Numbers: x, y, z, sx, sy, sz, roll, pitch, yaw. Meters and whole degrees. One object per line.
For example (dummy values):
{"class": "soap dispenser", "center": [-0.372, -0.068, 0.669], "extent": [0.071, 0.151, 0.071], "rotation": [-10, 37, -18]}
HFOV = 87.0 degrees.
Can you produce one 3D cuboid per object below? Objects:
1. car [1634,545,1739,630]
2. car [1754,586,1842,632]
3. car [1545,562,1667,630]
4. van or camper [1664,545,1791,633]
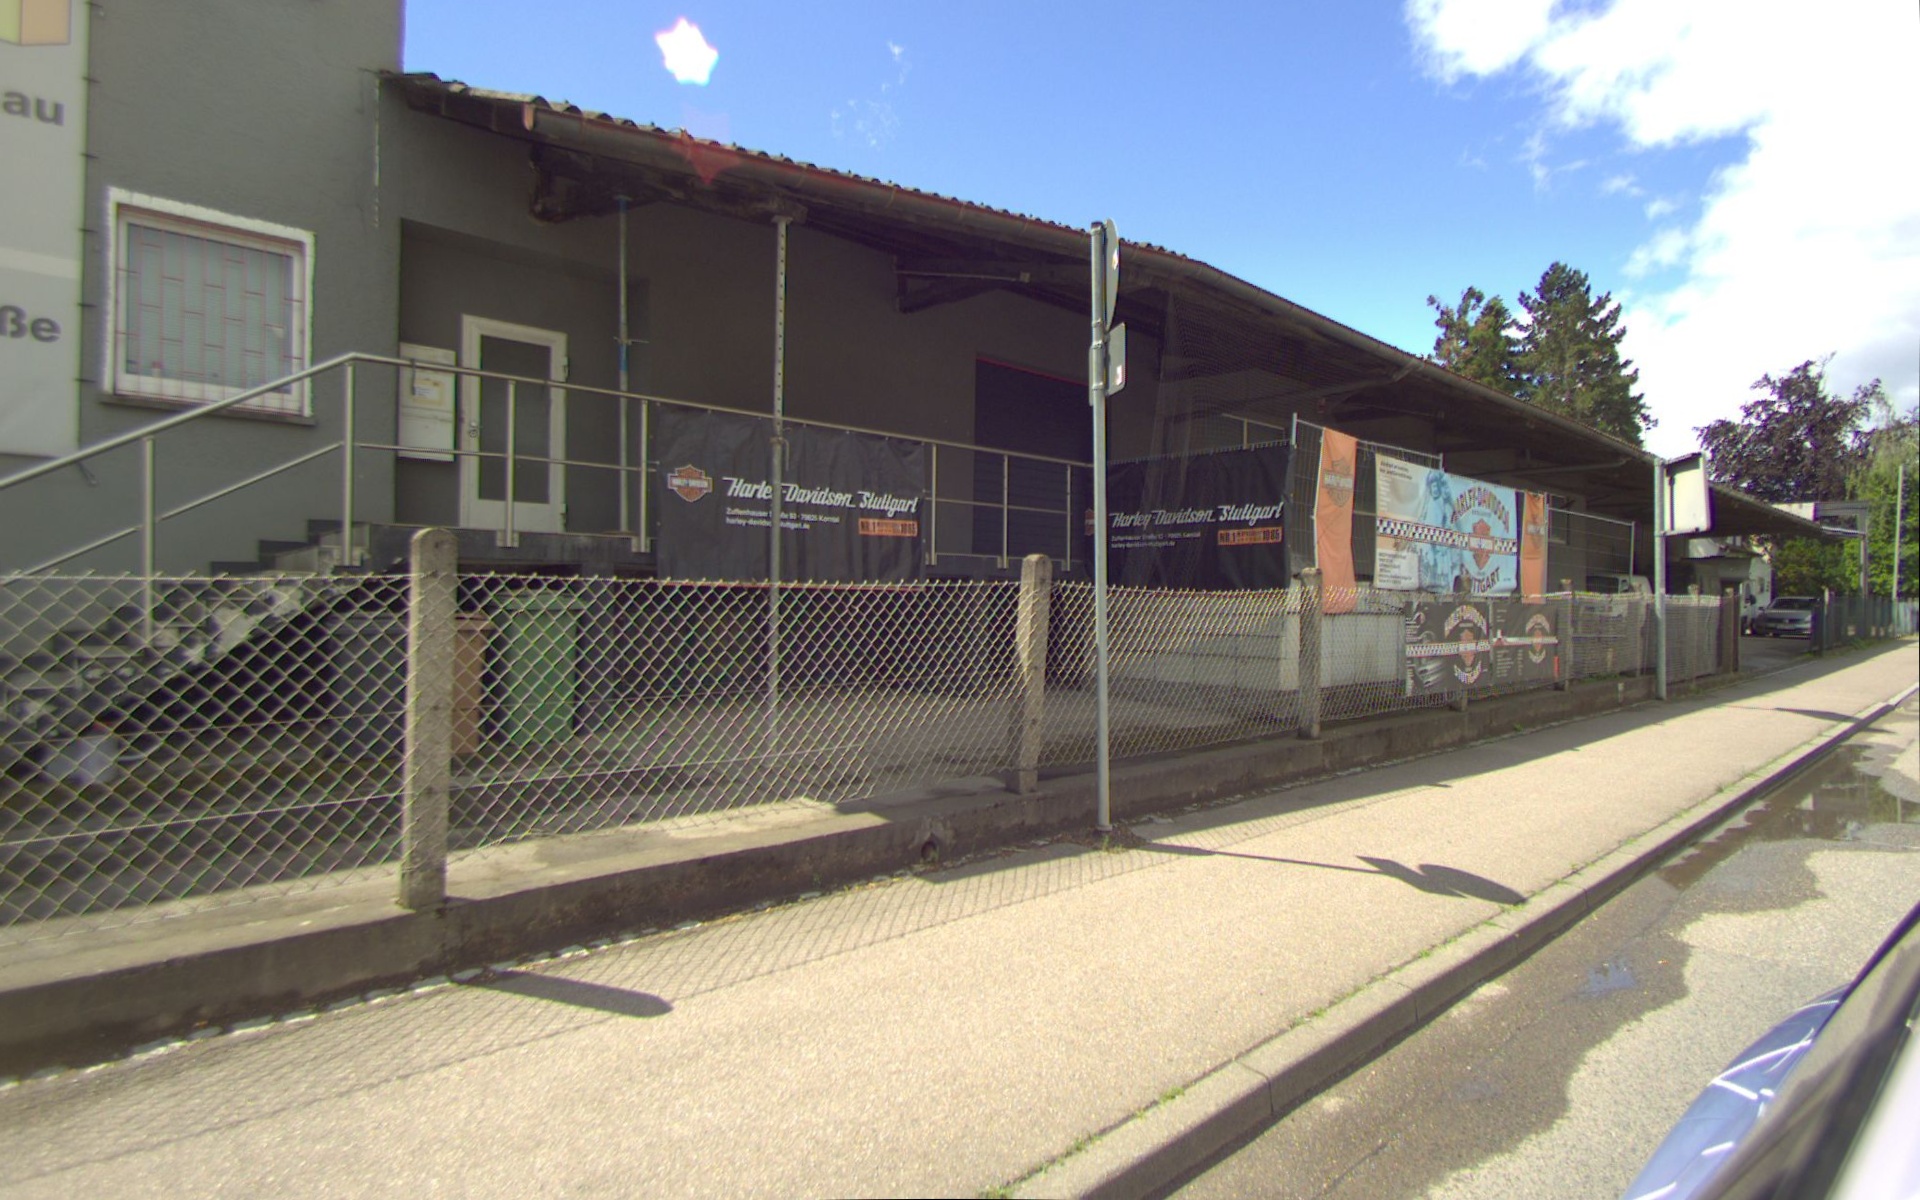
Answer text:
{"class": "car", "center": [25.181, -0.358, 35.008], "extent": [5.405, 2.715, 2.019], "rotation": [2, -1, -44]}
{"class": "car", "center": [29.583, 0.316, 35.673], "extent": [4.842, 1.508, 1.766], "rotation": [1, 0, -43]}
{"class": "car", "center": [19.802, -0.095, 30.916], "extent": [4.770, 1.934, 1.996], "rotation": [1, 0, -43]}
{"class": "van or camper", "center": [29.614, -0.414, 38.932], "extent": [6.798, 3.099, 2.883], "rotation": [0, 0, -44]}
